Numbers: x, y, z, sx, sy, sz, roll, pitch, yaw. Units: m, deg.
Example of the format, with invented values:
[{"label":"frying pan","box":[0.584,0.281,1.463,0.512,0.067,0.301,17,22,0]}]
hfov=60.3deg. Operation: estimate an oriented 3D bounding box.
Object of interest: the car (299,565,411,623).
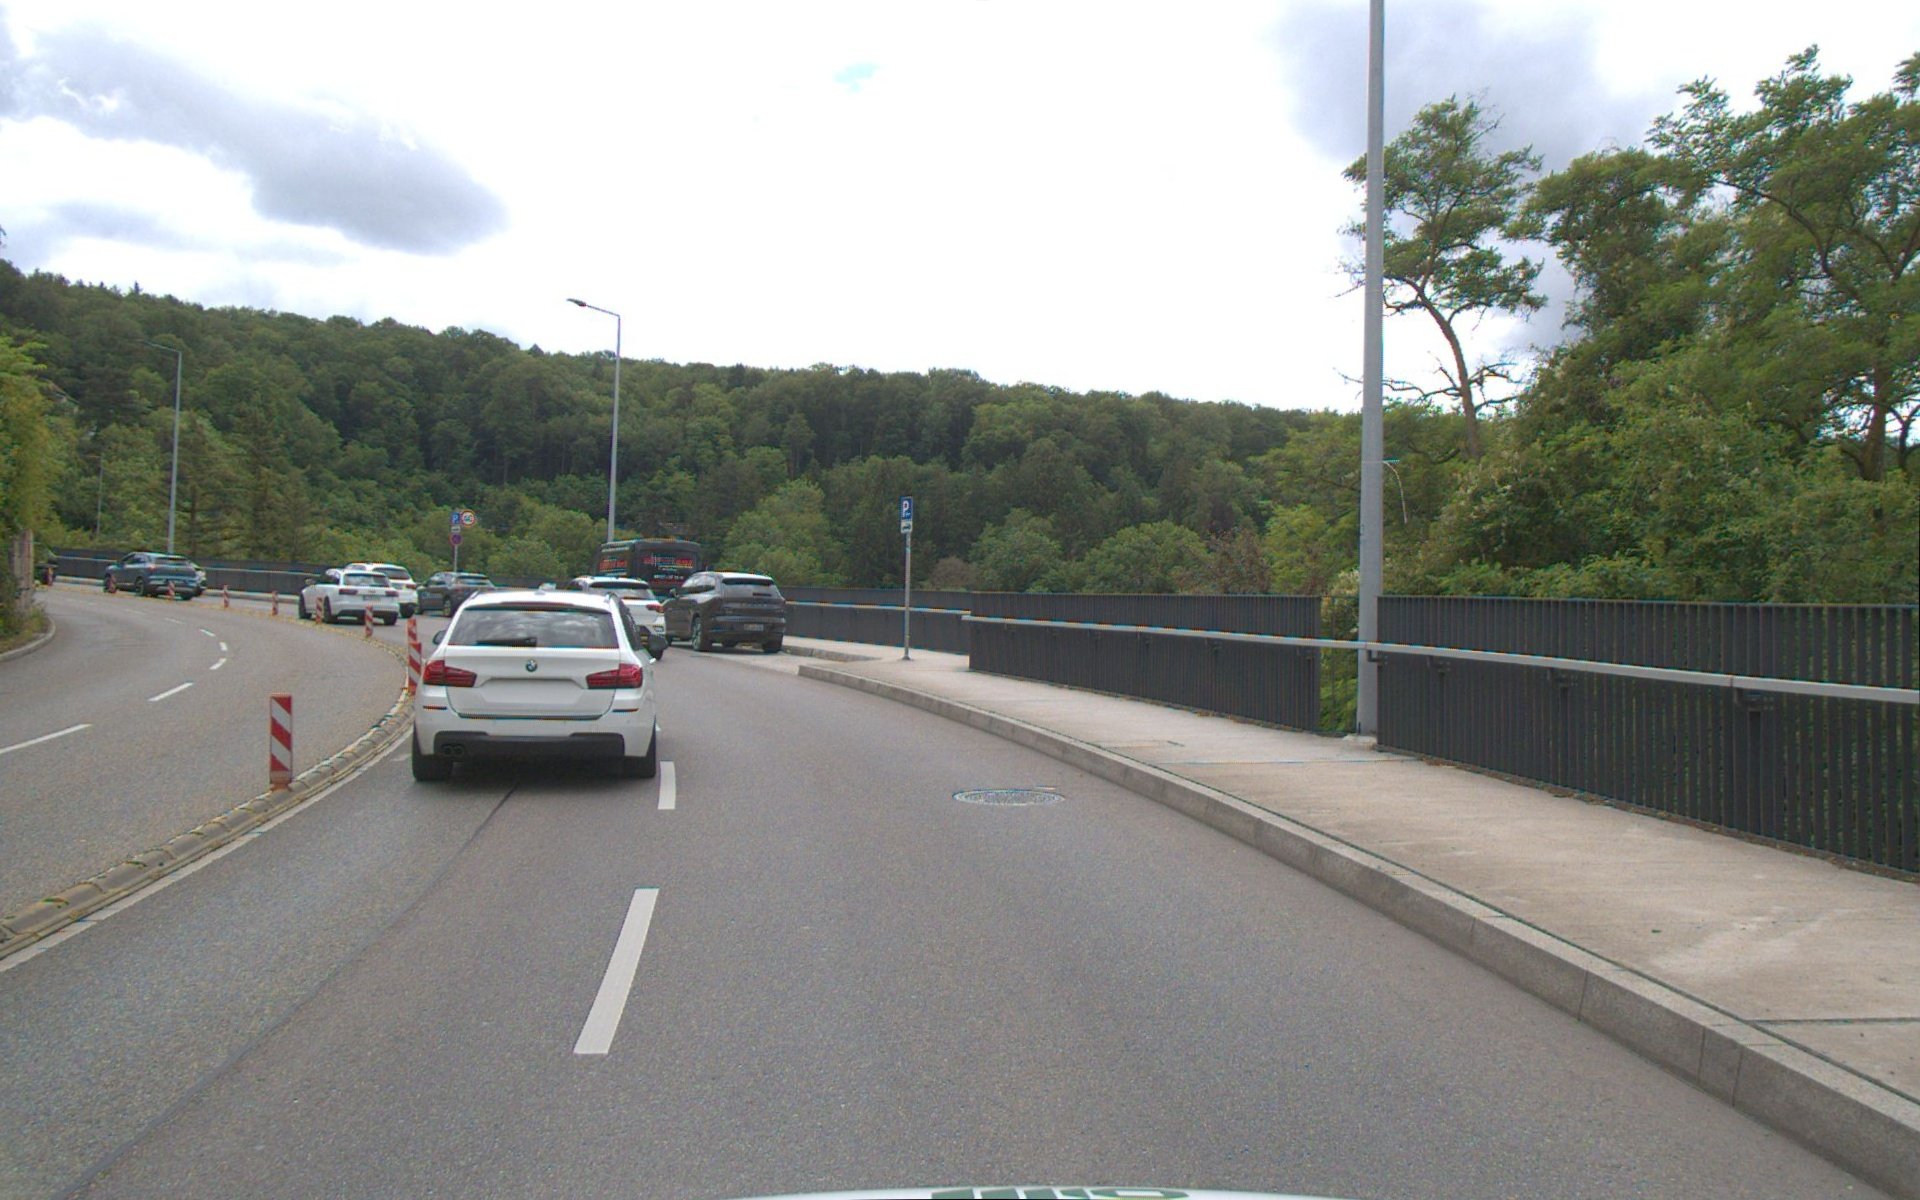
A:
[{"label":"car","box":[-16.904,-0.155,46.110,1.975,1.529,4.614,0,0,-33]}]

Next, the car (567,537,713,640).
[{"label":"car","box":[-8.639,-0.351,44.191,2.144,2.565,5.714,-1,1,-30]}]

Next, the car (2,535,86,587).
[{"label":"car","box":[-36.676,-1.536,66.221,3.932,1.793,1.862,-2,-4,44]}]

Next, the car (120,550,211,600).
[{"label":"car","box":[-28.050,-0.855,58.350,1.982,1.677,3.941,-1,0,-41]}]

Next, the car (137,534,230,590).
[{"label":"car","box":[-30.099,-1.463,64.107,3.932,2.049,1.987,1,0,44]}]

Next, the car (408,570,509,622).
[{"label":"car","box":[-17.159,-0.144,56.460,1.863,1.570,4.032,3,-1,-39]}]

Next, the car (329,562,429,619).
[{"label":"car","box":[-18.561,-0.290,52.770,1.977,1.748,4.062,-1,0,-35]}]

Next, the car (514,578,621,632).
[{"label":"car","box":[-11.646,0.132,48.920,1.701,1.456,3.800,2,0,-37]}]

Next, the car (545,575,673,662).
[{"label":"car","box":[-7.085,0.342,33.134,1.803,1.634,3.971,0,0,-23]}]

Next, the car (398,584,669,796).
[{"label":"car","box":[-3.437,0.634,14.079,1.794,1.485,4.476,0,0,-9]}]

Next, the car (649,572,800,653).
[{"label":"car","box":[-5.497,0.263,38.097,1.970,1.748,5.005,0,0,-27]}]
